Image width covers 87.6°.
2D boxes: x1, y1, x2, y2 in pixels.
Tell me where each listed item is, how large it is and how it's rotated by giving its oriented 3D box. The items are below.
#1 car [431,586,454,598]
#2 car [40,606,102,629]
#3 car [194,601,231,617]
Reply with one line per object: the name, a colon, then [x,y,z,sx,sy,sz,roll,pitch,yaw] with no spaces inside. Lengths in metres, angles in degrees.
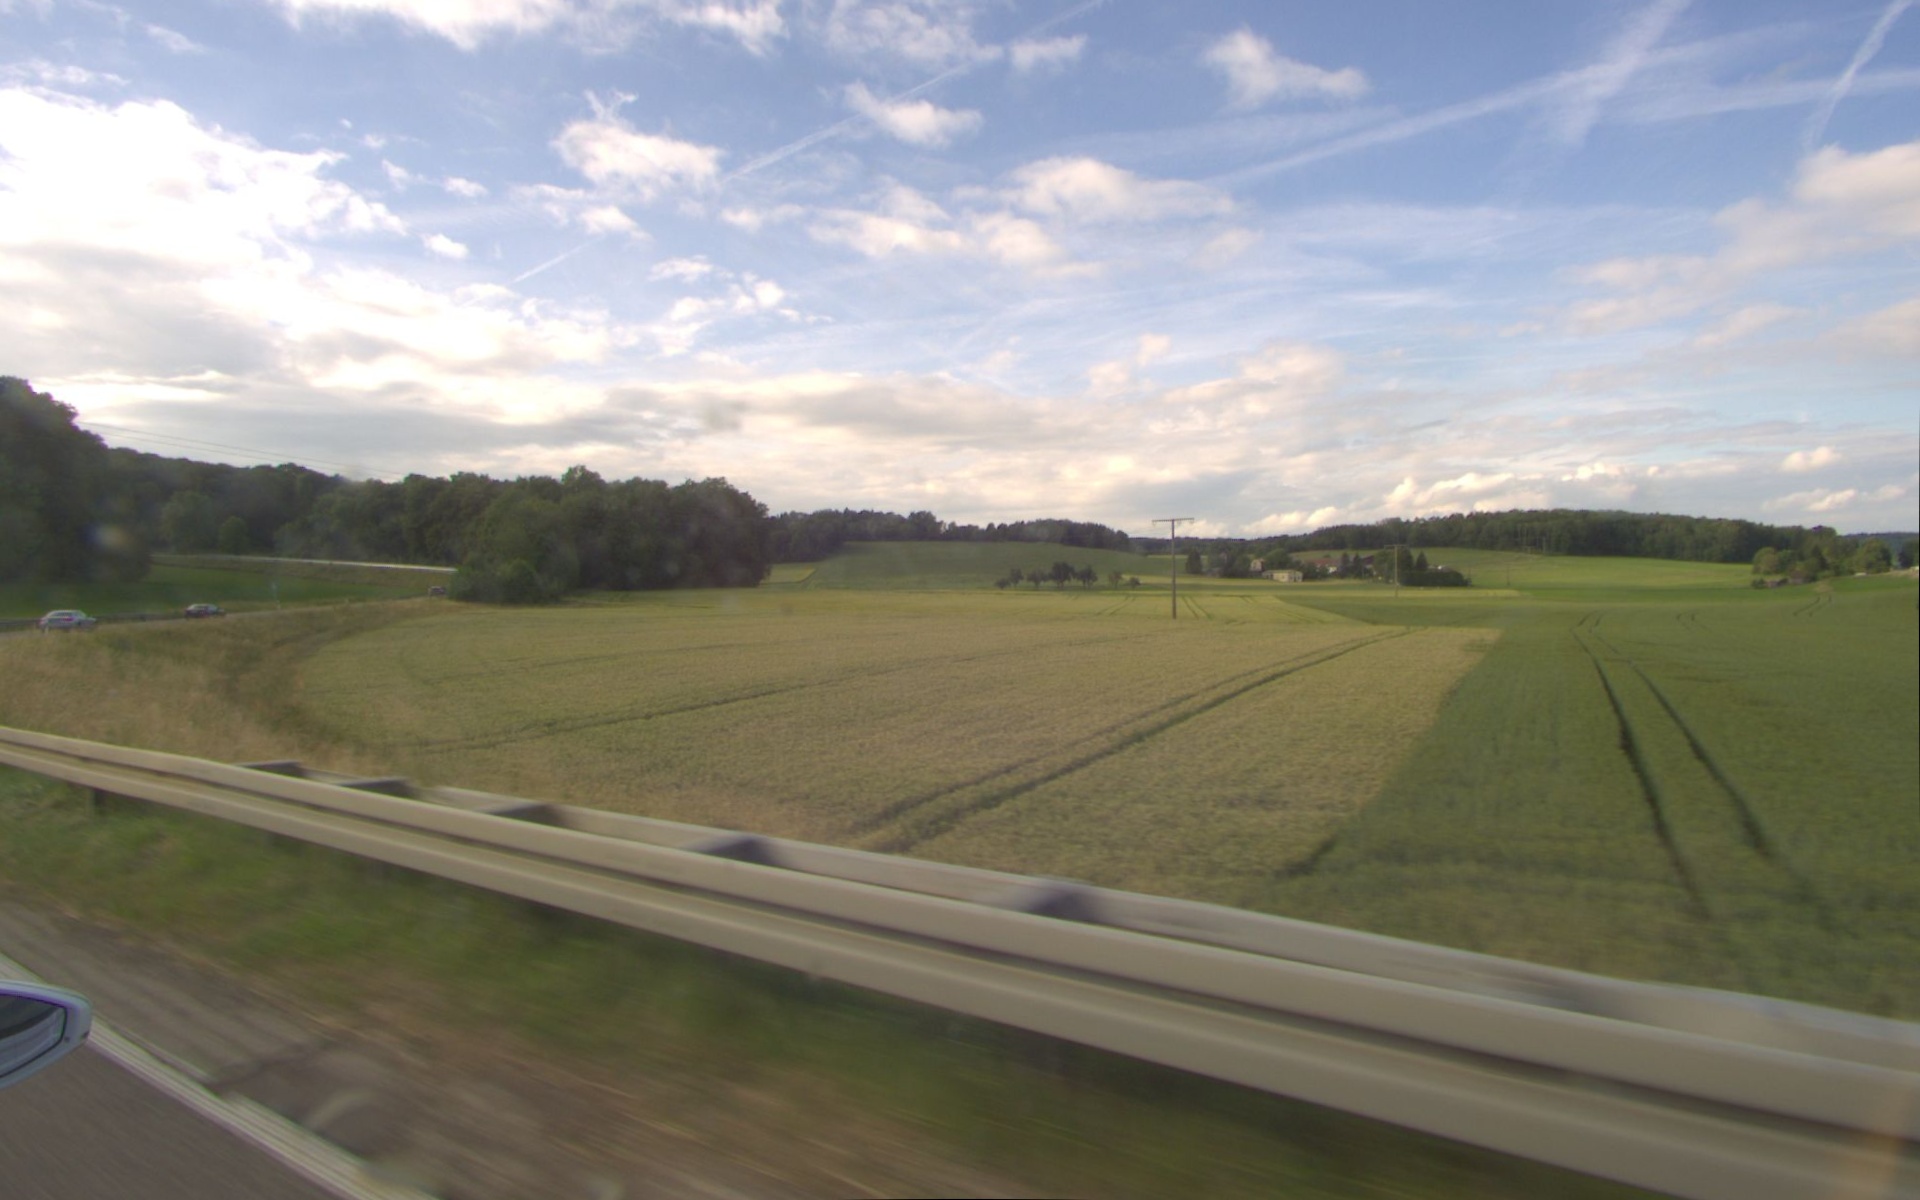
car: [-76.959,-1.185,148.917,1.963,1.702,4.171,0,1,-13]
car: [-58.743,1.127,66.266,1.659,1.395,3.988,-2,1,-21]
car: [-65.886,0.757,88.326,1.449,1.244,3.292,-3,2,-16]
